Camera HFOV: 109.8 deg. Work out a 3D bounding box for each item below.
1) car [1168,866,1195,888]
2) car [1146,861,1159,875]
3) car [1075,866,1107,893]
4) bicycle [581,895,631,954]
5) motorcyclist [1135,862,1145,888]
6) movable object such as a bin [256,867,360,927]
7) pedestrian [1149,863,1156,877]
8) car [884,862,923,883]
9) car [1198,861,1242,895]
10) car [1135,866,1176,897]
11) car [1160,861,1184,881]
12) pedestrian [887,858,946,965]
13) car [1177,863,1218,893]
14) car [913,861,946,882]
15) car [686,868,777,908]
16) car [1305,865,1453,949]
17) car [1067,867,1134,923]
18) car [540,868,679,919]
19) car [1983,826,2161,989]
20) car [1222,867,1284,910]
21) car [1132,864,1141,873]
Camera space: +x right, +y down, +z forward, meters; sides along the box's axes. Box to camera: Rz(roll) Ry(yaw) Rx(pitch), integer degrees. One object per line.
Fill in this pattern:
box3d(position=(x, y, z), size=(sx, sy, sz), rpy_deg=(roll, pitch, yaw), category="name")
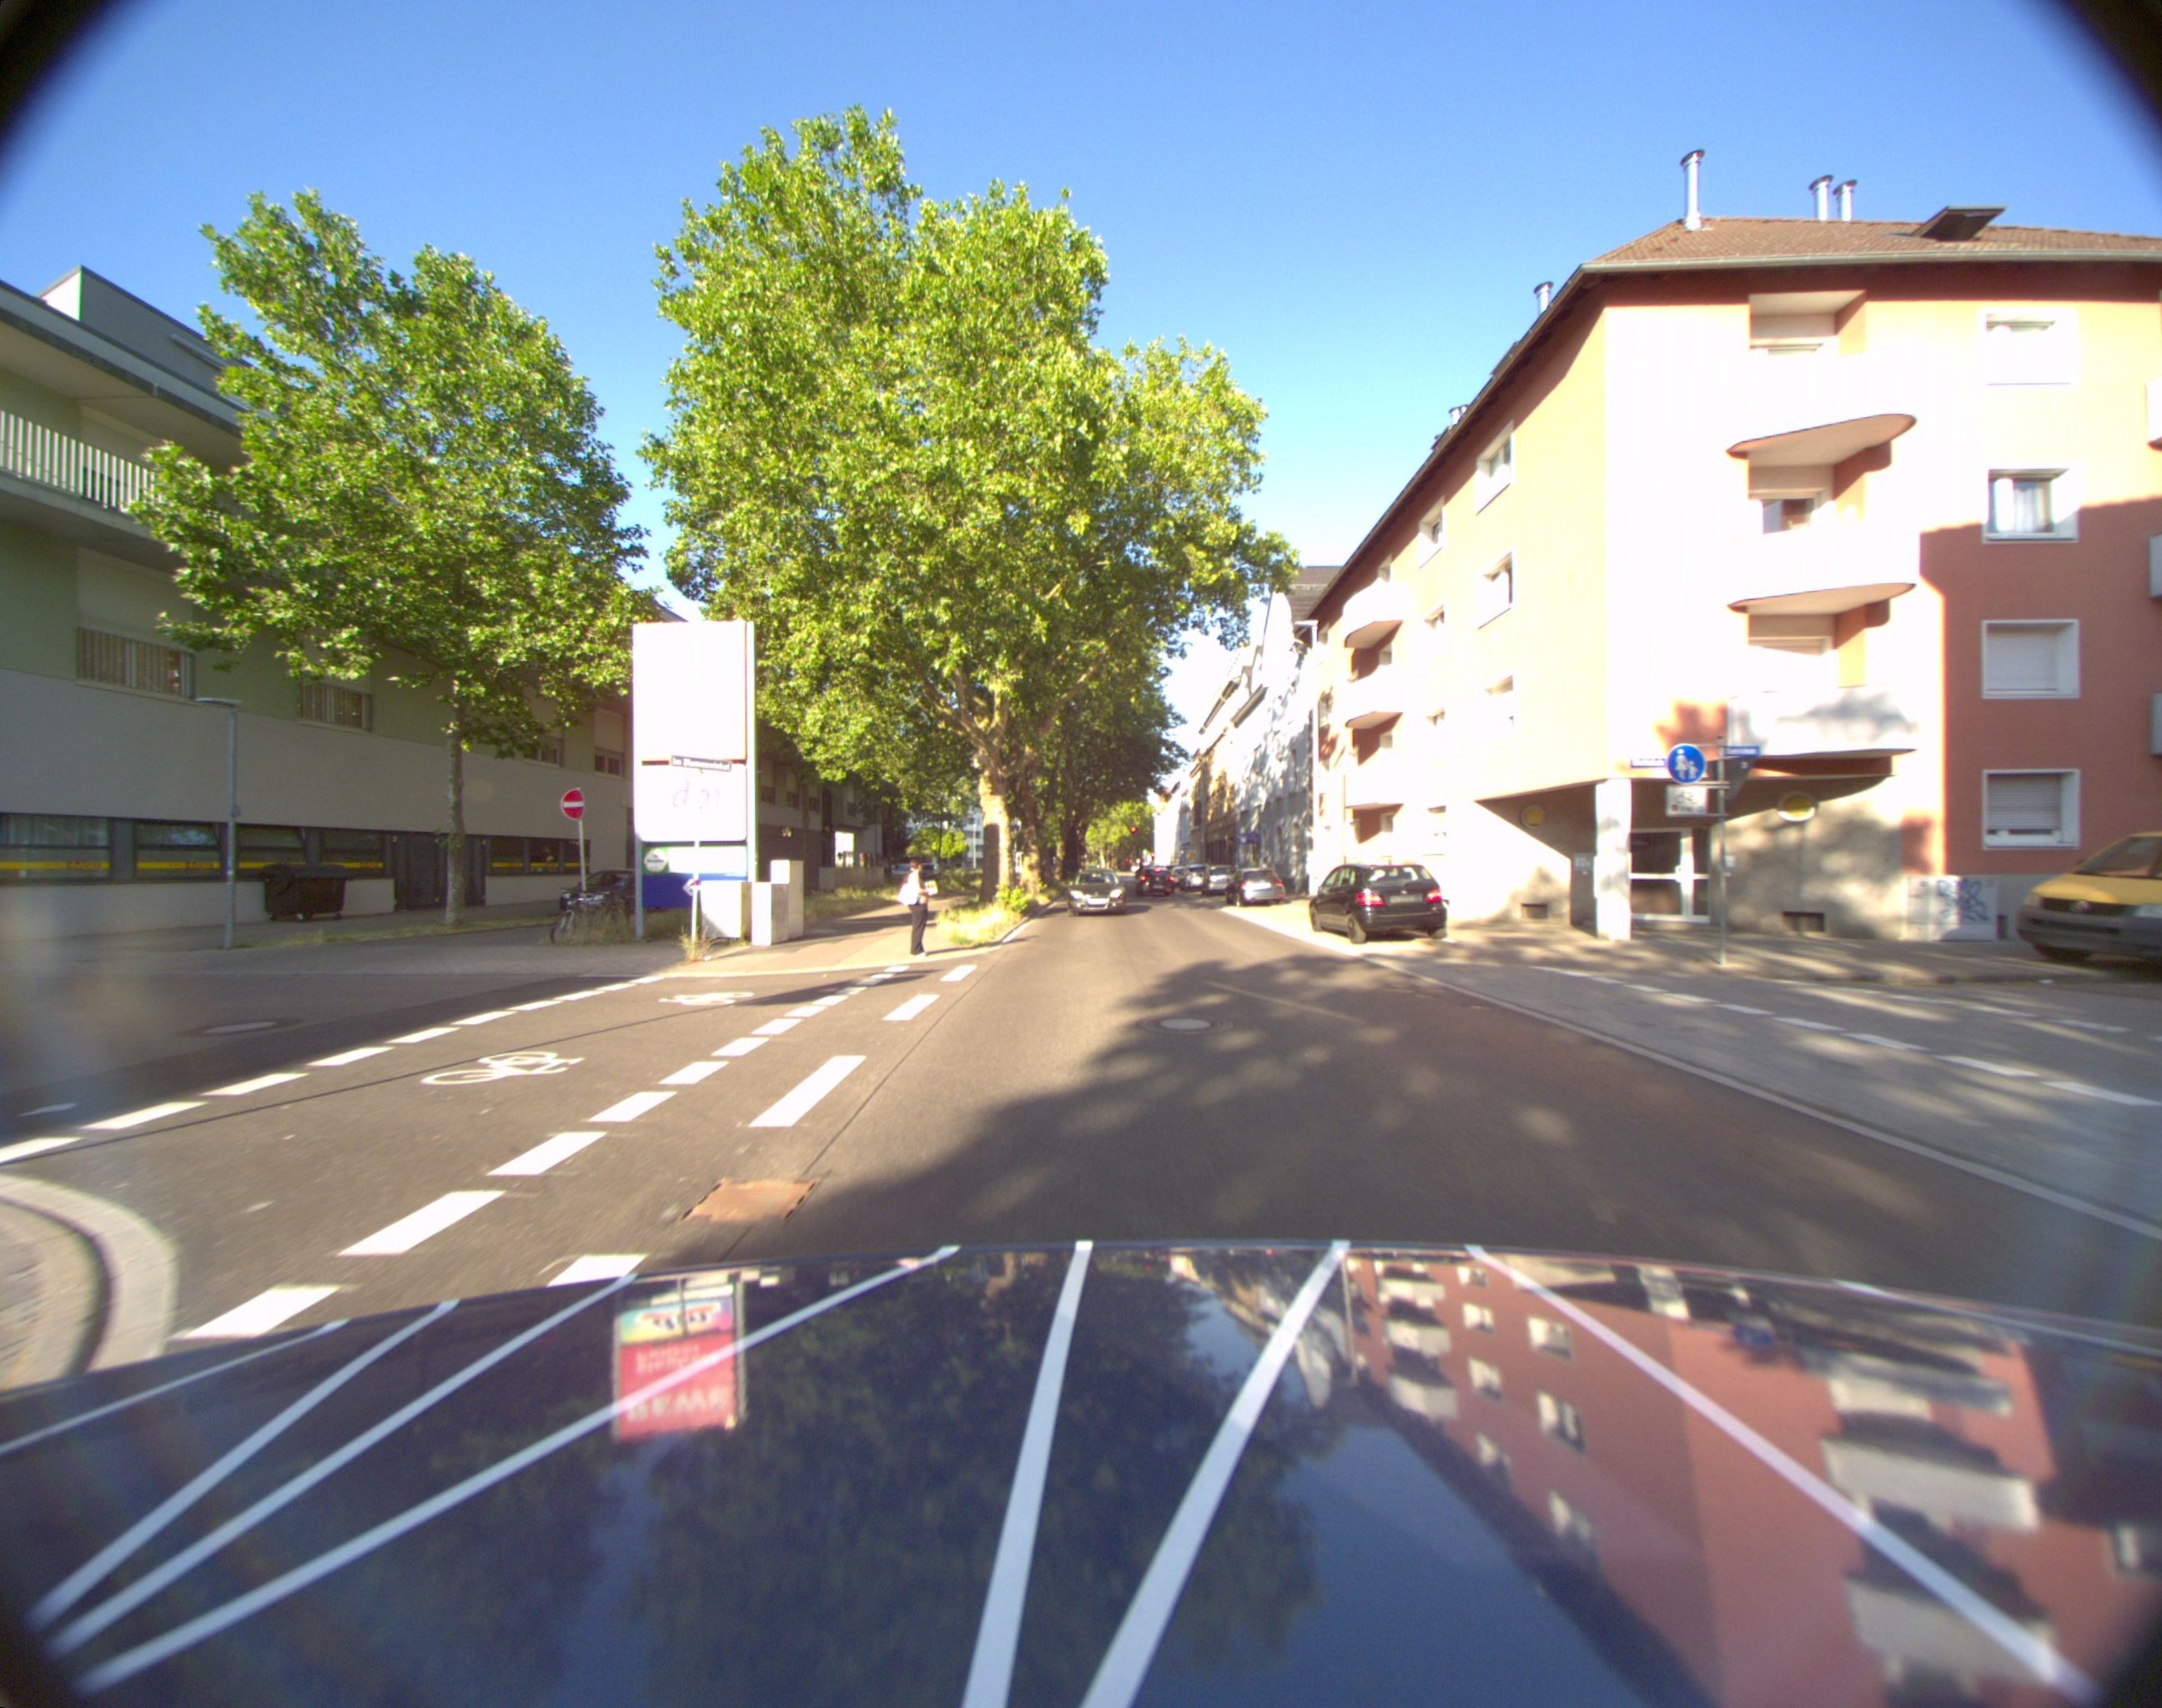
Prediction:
box3d(position=(7.439, 1.670, 56.525), size=(1.681, 1.487, 3.873), rpy_deg=(-2, -1, 3), category="car")
box3d(position=(10.008, 1.950, 107.080), size=(1.668, 1.808, 4.006), rpy_deg=(-2, -1, 4), category="car")
box3d(position=(0.580, 1.359, 41.712), size=(1.654, 1.445, 3.536), rpy_deg=(0, -1, 2), category="car")
box3d(position=(-9.077, 1.318, 14.559), size=(0.384, 0.997, 1.484), rpy_deg=(0, -1, -15), category="bicycle")
box3d(position=(3.725, 1.321, 47.793), size=(0.587, 1.595, 0.832), rpy_deg=(0, 0, 1), category="motorcyclist")
box3d(position=(-19.451, 1.059, 19.151), size=(1.195, 1.454, 1.409), rpy_deg=(0, 0, 13), category="movable object such as a bin")
box3d(position=(8.304, 1.852, 88.080), size=(0.865, 1.560, 0.706), rpy_deg=(0, 0, 6), category="pedestrian")
box3d(position=(-13.714, 1.408, 59.039), size=(1.863, 1.533, 4.321), rpy_deg=(0, -1, 2), category="car")
box3d(position=(7.227, 1.224, 39.711), size=(1.682, 1.631, 3.986), rpy_deg=(-2, -1, 3), category="car")
box3d(position=(3.791, 1.390, 39.359), size=(1.775, 1.469, 4.323), rpy_deg=(-2, -1, 2), category="car")
box3d(position=(7.491, 1.408, 62.805), size=(1.681, 1.575, 4.201), rpy_deg=(-2, -1, 3), category="car")
box3d(position=(-2.814, 0.961, 12.991), size=(0.771, 1.751, 0.662), rpy_deg=(2, 0, -32), category="pedestrian")
box3d(position=(6.946, 1.406, 45.543), size=(1.912, 1.631, 4.579), rpy_deg=(-2, -1, 3), category="car")
box3d(position=(-13.263, 1.529, 66.677), size=(1.909, 1.760, 4.321), rpy_deg=(0, -1, 2), category="car")
box3d(position=(-14.147, 1.338, 30.987), size=(1.863, 1.543, 3.760), rpy_deg=(0, -1, 2), category="car")
box3d(position=(6.104, 1.012, 16.091), size=(1.681, 1.514, 4.022), rpy_deg=(-2, -1, 3), category="car")
box3d(position=(0.657, 1.204, 23.854), size=(1.844, 1.536, 4.525), rpy_deg=(-2, -1, 3), category="car")
box3d(position=(-14.815, 1.184, 24.175), size=(1.864, 1.460, 4.124), rpy_deg=(0, -1, 0), category="car")
box3d(position=(15.718, 0.667, 10.207), size=(4.757, 2.002, 1.920), rpy_deg=(0, 0, 3), category="car")
box3d(position=(6.544, 1.289, 29.179), size=(1.681, 1.477, 3.602), rpy_deg=(-2, -1, 3), category="car")
box3d(position=(11.434, 2.928, 156.542), size=(1.897, 1.782, 4.002), rpy_deg=(0, -1, 4), category="car")
